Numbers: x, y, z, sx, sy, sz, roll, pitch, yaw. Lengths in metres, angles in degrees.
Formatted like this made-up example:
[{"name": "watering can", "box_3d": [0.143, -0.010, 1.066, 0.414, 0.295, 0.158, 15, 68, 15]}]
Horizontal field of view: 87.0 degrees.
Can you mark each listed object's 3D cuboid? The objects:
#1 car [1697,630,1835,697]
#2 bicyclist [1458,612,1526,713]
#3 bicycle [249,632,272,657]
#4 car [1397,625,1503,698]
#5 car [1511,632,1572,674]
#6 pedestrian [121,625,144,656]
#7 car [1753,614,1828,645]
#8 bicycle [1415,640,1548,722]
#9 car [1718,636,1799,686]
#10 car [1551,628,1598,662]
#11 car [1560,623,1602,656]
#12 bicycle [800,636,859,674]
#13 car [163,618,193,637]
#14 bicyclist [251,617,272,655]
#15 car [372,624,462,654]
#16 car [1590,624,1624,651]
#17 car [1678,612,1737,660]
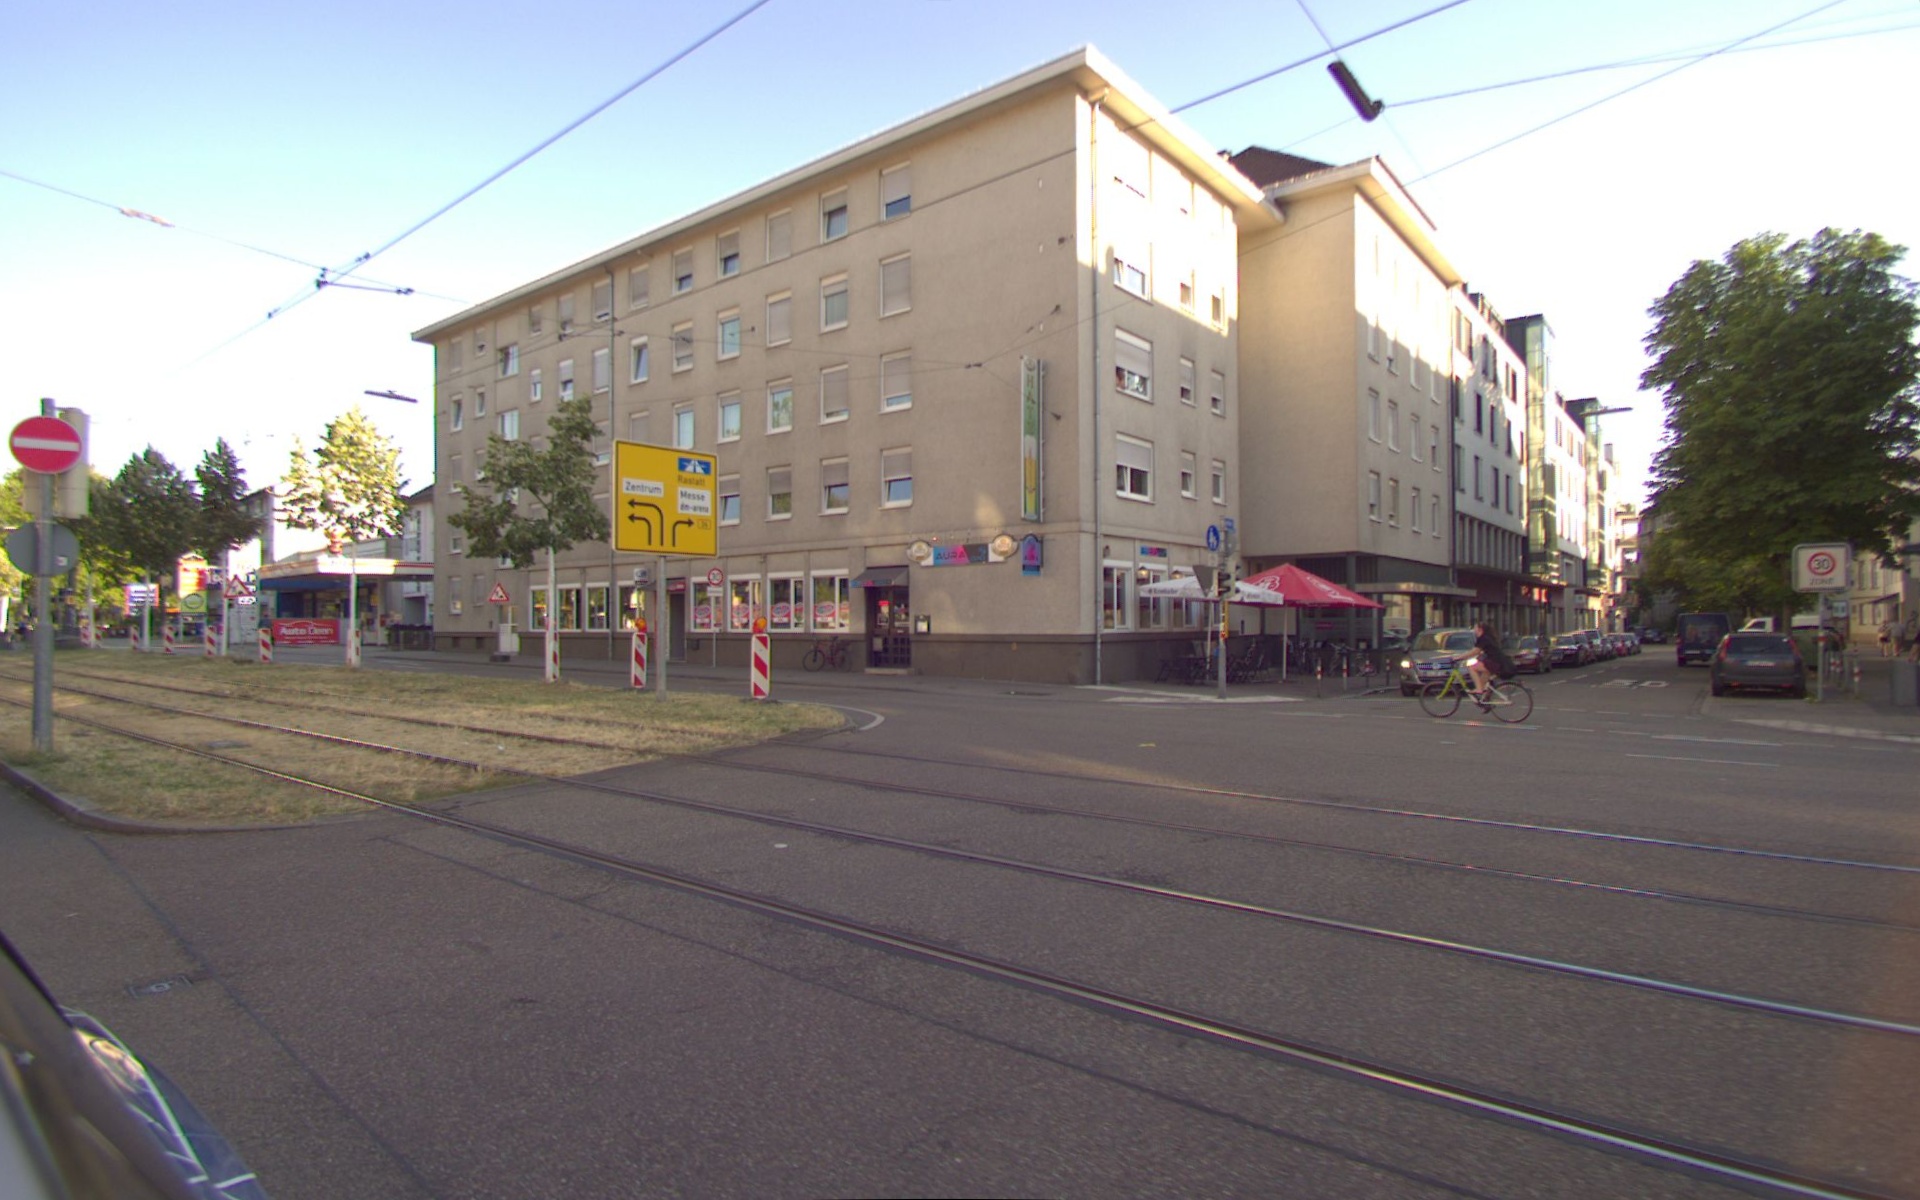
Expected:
[{"name": "car", "box_3d": [19.019, 1.470, 24.072, 1.993, 1.453, 3.957, -3, -3, 31]}, {"name": "bicyclist", "box_3d": [8.725, 1.004, 16.594, 0.809, 1.598, 0.619, -2, -2, 45]}, {"name": "bicycle", "box_3d": [-34.993, 2.227, 50.632, 1.869, 1.267, 0.450, -2, -2, 40]}, {"name": "car", "box_3d": [12.232, 1.453, 25.140, 1.993, 1.636, 4.153, -1, -2, 31]}, {"name": "car", "box_3d": [21.491, 1.921, 37.362, 1.502, 1.321, 3.093, -1, 0, 39]}, {"name": "pedestrian", "box_3d": [-35.157, 1.701, 43.014, 0.580, 1.280, 0.655, -2, -1, 40]}, {"name": "car", "box_3d": [50.763, 1.763, 61.871, 3.485, 1.809, 1.680, -1, 0, 40]}, {"name": "bicycle", "box_3d": [8.573, 1.309, 16.710, 1.871, 1.267, 0.450, -3, -2, 45]}, {"name": "car", "box_3d": [23.460, 1.748, 29.794, 1.770, 1.273, 3.266, -1, -1, 38]}, {"name": "car", "box_3d": [26.941, 1.949, 44.330, 1.429, 1.286, 3.313, -1, 0, 38]}, {"name": "car", "box_3d": [32.946, 2.046, 53.641, 1.631, 1.585, 3.495, -1, 0, 36]}, {"name": "bicycle", "box_3d": [-3.798, 1.581, 29.393, 1.843, 1.031, 0.602, -1, 0, 40]}, {"name": "car", "box_3d": [-68.009, 2.382, 88.002, 1.756, 1.567, 4.005, -1, 1, -42]}, {"name": "bicyclist", "box_3d": [-34.968, 1.785, 50.660, 0.808, 1.897, 0.644, -2, -3, 39]}, {"name": "car", "box_3d": [-27.998, 2.010, 52.251, 1.905, 1.481, 3.682, -4, -4, 38]}, {"name": "car", "box_3d": [41.641, 2.370, 65.150, 1.631, 1.585, 3.495, -1, 0, 36]}, {"name": "car", "box_3d": [32.979, 1.538, 44.603, 1.997, 2.029, 3.949, -1, -1, 38]}]
